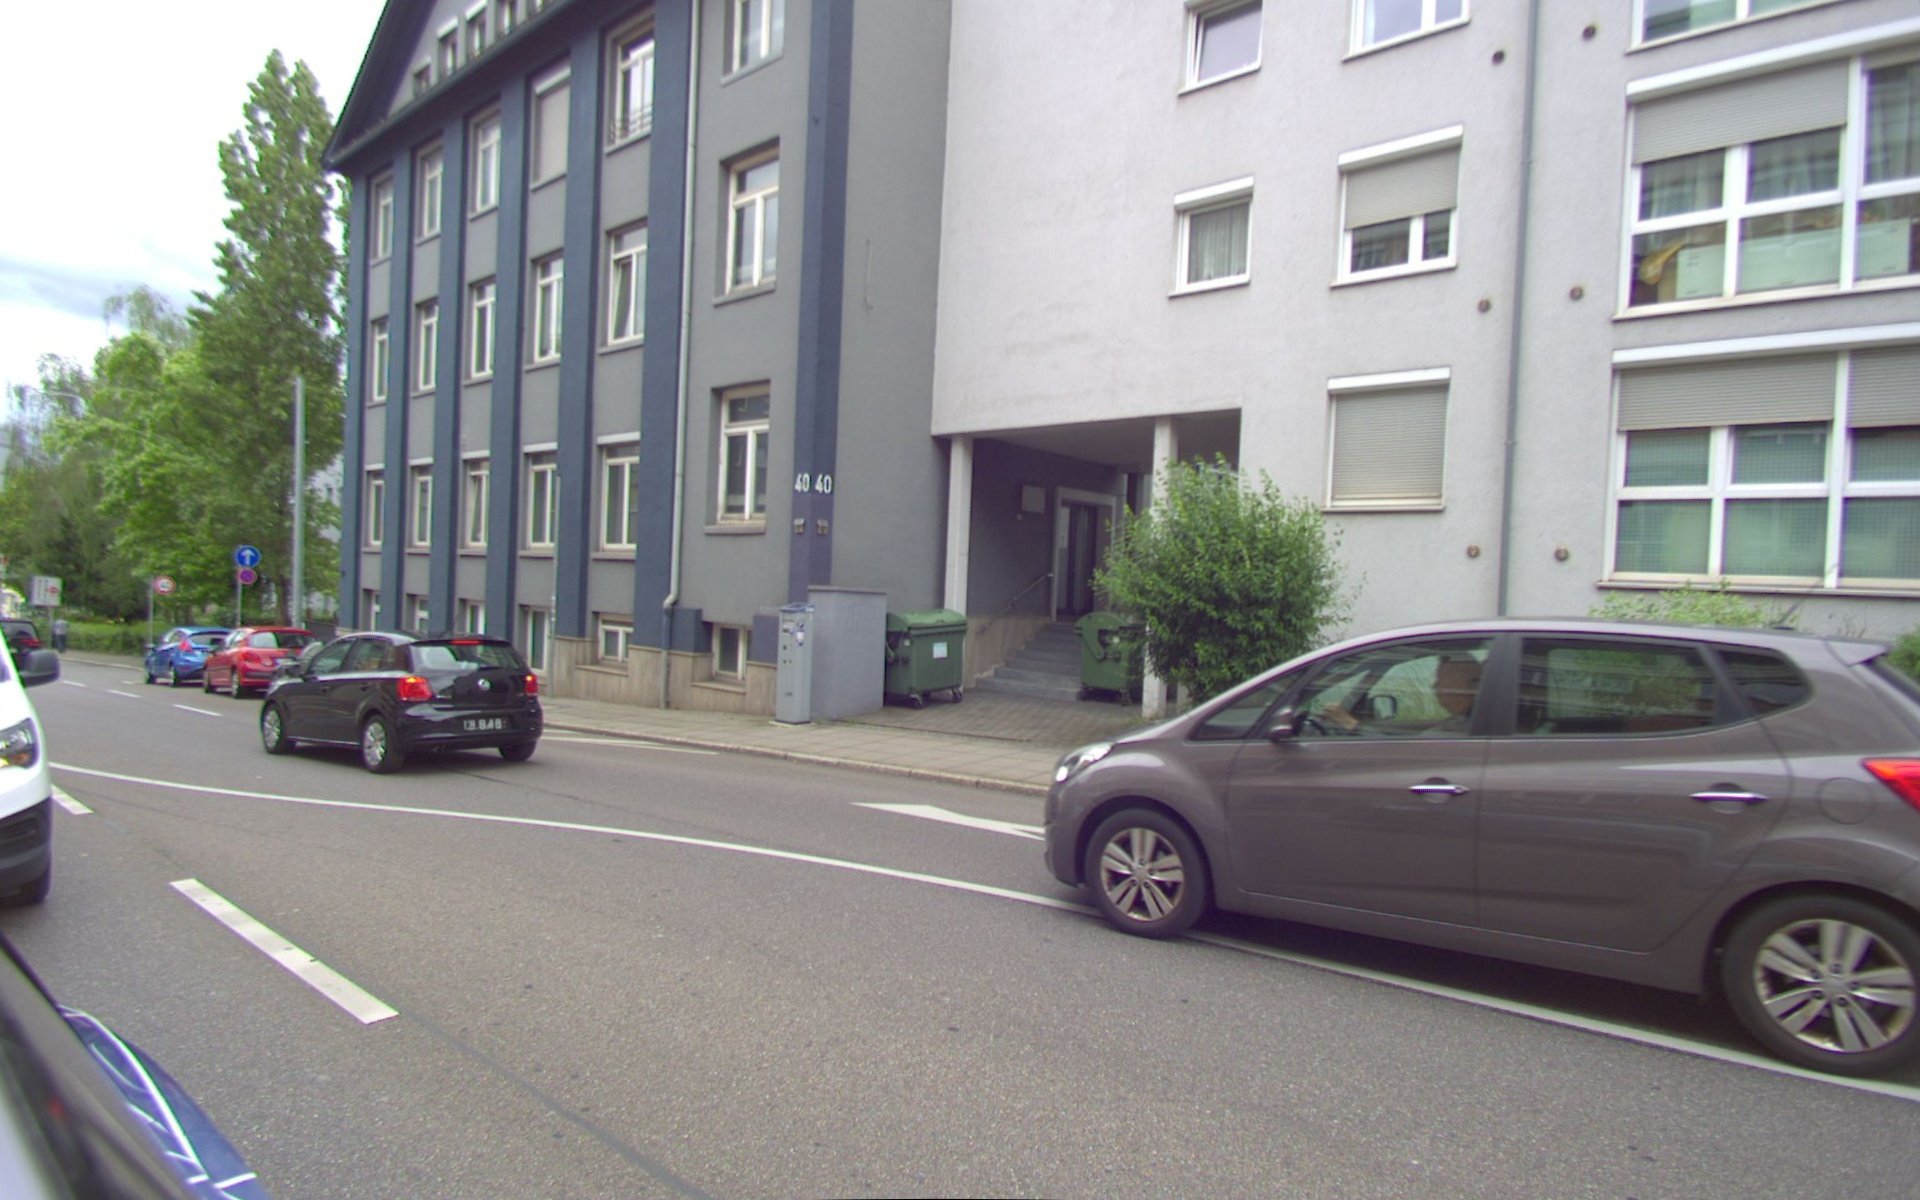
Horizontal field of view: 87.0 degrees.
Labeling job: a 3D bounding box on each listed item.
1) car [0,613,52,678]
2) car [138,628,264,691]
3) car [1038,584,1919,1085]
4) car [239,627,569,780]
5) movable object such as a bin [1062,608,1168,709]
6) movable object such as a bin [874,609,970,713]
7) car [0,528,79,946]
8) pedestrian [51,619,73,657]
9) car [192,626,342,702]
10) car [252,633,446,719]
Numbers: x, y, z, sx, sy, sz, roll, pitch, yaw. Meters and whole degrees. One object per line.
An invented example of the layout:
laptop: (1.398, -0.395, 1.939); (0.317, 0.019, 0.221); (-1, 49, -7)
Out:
car: (-27.094, 1.251, 28.393); (4.304, 1.720, 1.765); (-1, -4, 41)
car: (-19.179, 1.458, 25.520); (3.724, 1.465, 1.702); (-1, -3, 40)
car: (2.488, 0.813, 4.733); (3.928, 1.599, 1.688); (-1, -4, 36)
car: (-6.201, 1.036, 11.183); (3.785, 1.411, 1.658); (-1, -4, 35)
movable object such as a bin: (2.515, 0.919, 16.403); (1.190, 1.489, 1.132); (5, 2, 41)
movable object such as a bin: (-0.573, 0.901, 15.454); (0.784, 1.467, 1.251); (0, 1, 44)
car: (-6.454, 0.644, 5.557); (4.937, 1.821, 1.816); (-1, 0, 42)
pedestrian: (-44.822, 1.872, 50.486); (0.776, 1.864, 0.736); (-2, -1, 42)
car: (-15.039, 1.354, 21.908); (3.868, 1.485, 1.796); (-2, -4, 42)
car: (-10.902, 1.298, 17.951); (4.038, 1.337, 1.702); (-1, -4, 40)
